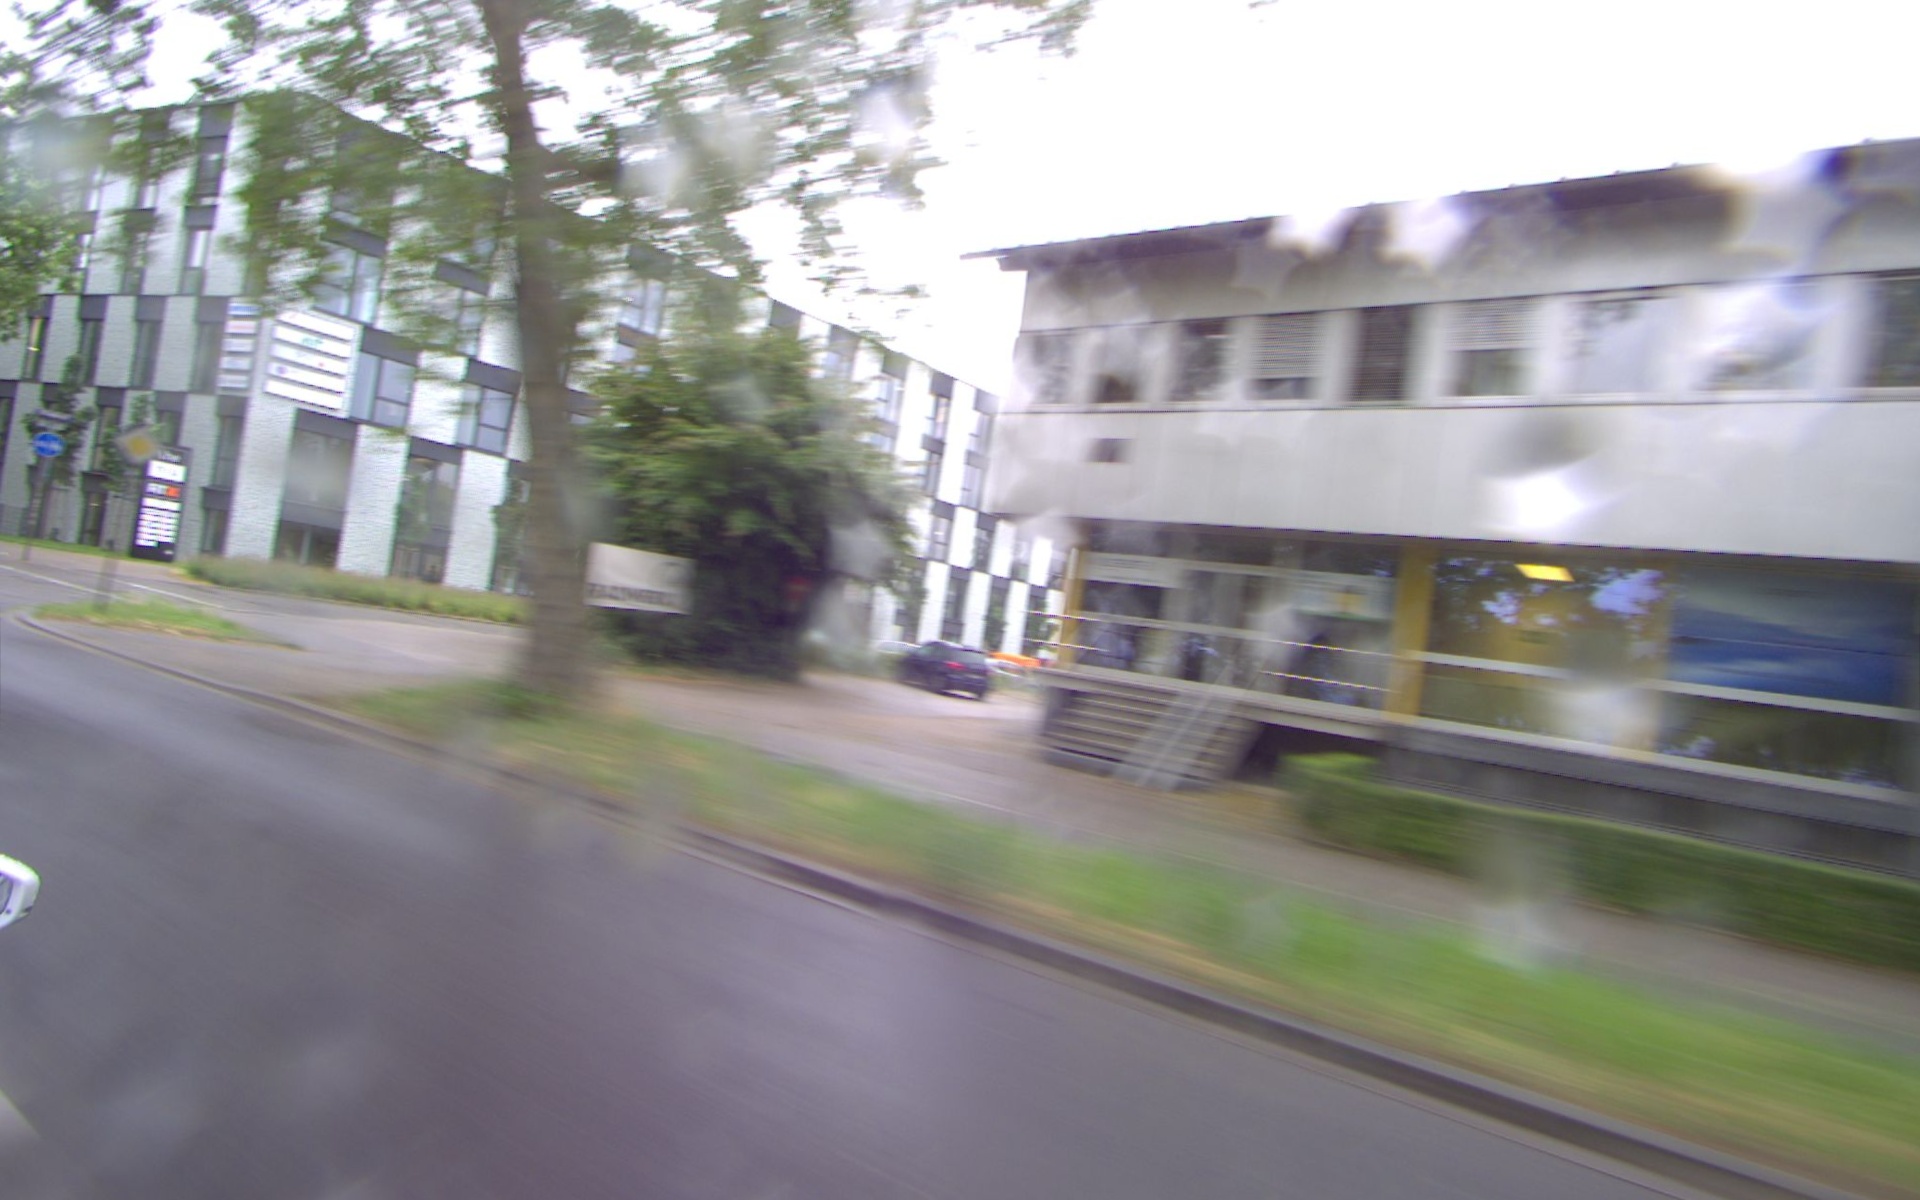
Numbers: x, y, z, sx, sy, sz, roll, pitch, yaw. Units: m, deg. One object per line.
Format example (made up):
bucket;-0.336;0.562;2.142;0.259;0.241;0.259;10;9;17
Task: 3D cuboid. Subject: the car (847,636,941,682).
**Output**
car;-3.324;2.922;50.189;4.669;1.547;1.885;6;-3;45

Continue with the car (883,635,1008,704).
car;-0.520;2.157;31.753;1.877;1.547;4.118;10;-3;-33

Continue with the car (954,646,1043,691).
car;2.048;3.696;54.639;4.669;1.680;1.885;6;-3;45

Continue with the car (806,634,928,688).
car;-3.402;2.303;37.594;1.870;1.545;4.288;1;-7;43

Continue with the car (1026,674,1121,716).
car;5.348;4.446;47.100;4.276;1.484;1.875;10;-6;-39

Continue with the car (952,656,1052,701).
car;1.866;3.436;43.850;1.871;1.484;4.285;1;-7;45
